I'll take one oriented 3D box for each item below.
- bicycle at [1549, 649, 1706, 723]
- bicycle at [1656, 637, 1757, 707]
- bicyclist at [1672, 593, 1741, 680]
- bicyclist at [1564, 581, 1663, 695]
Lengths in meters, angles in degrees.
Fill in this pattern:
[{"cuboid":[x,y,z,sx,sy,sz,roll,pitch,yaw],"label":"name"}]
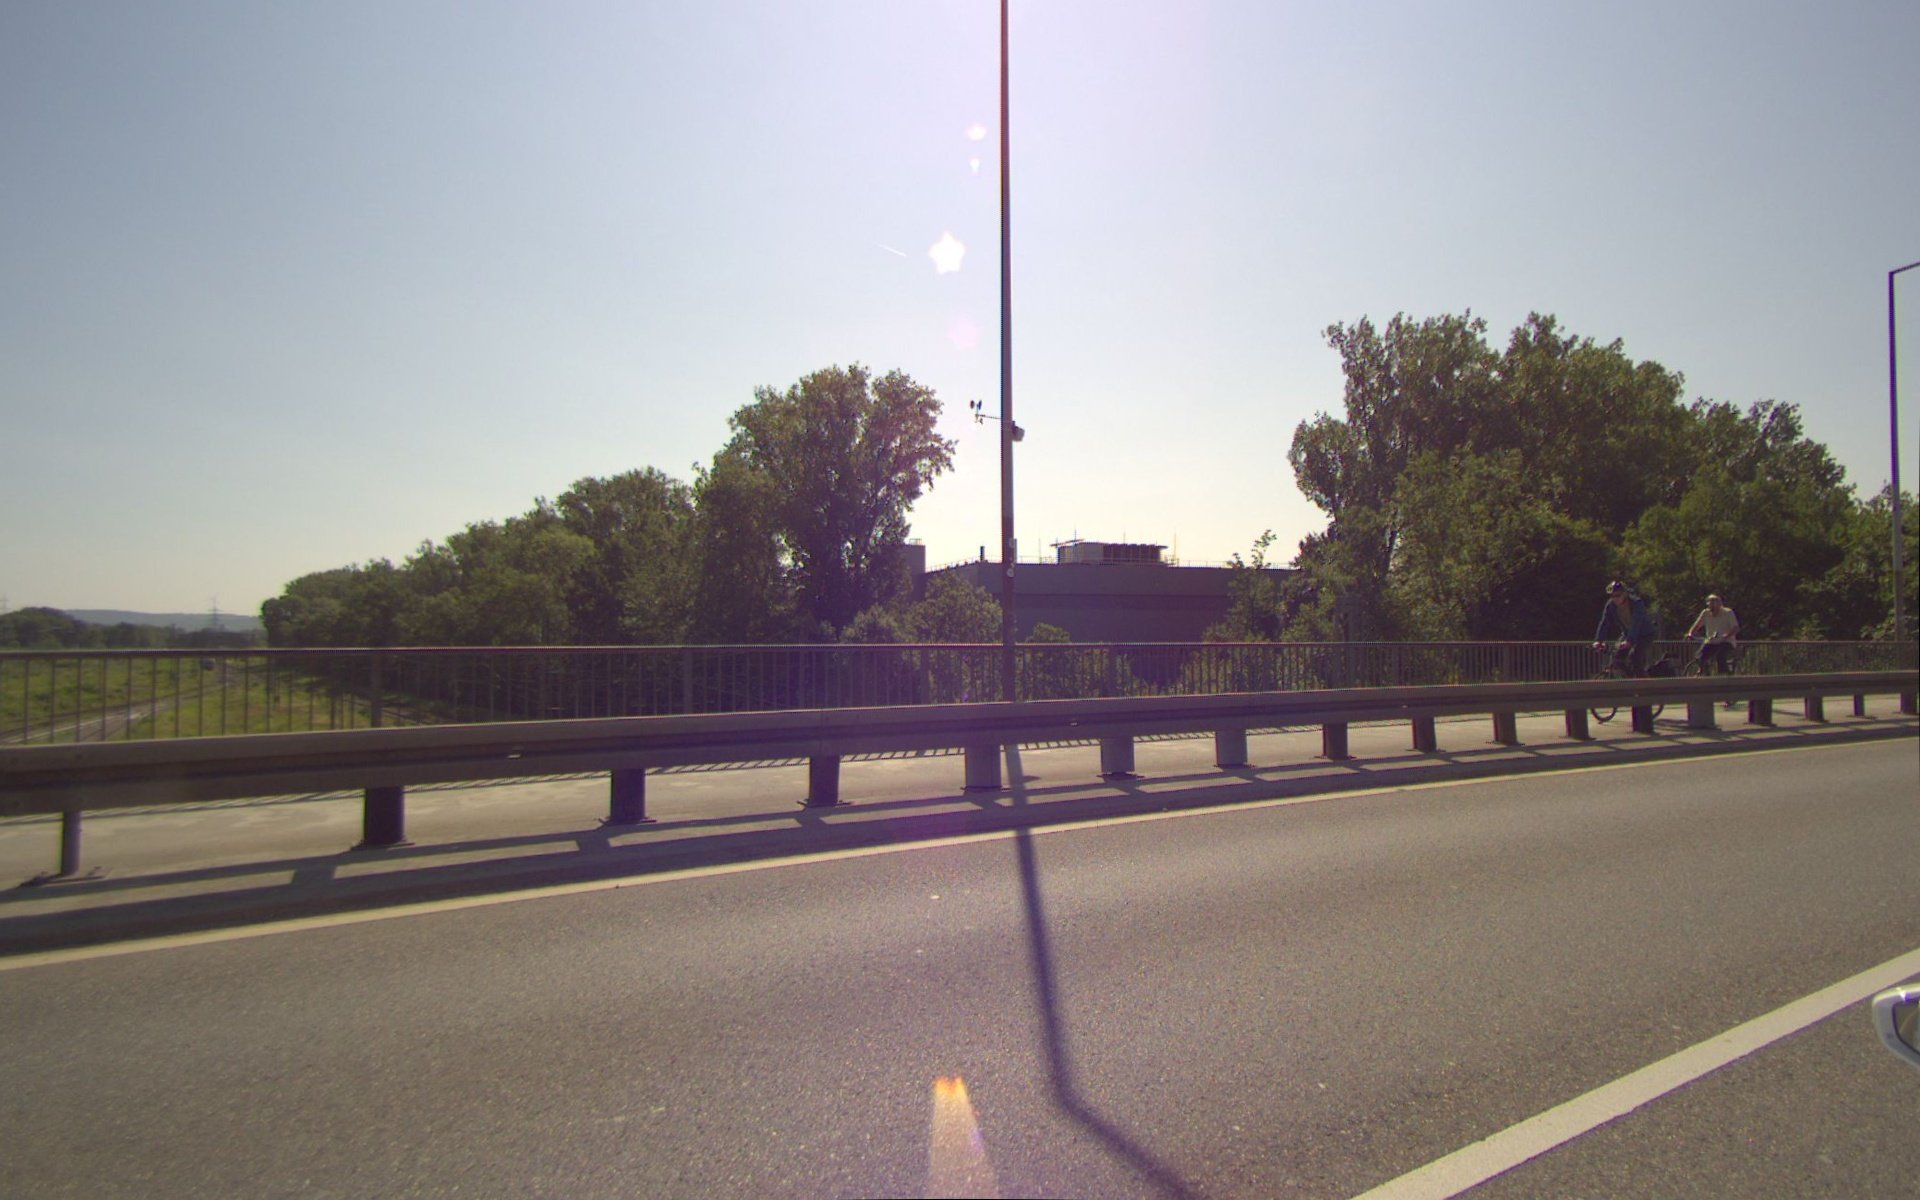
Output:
[{"cuboid":[9.234,1.160,13.899,1.940,0.903,0.926,1,0,-25],"label":"bicycle"},{"cuboid":[11.976,1.132,16.102,1.687,1.060,0.572,0,-2,-26],"label":"bicycle"},{"cuboid":[11.954,0.589,16.077,0.934,1.346,0.486,2,0,-27],"label":"bicyclist"},{"cuboid":[8.950,0.503,13.777,1.000,1.516,0.659,0,0,-20],"label":"bicyclist"}]
